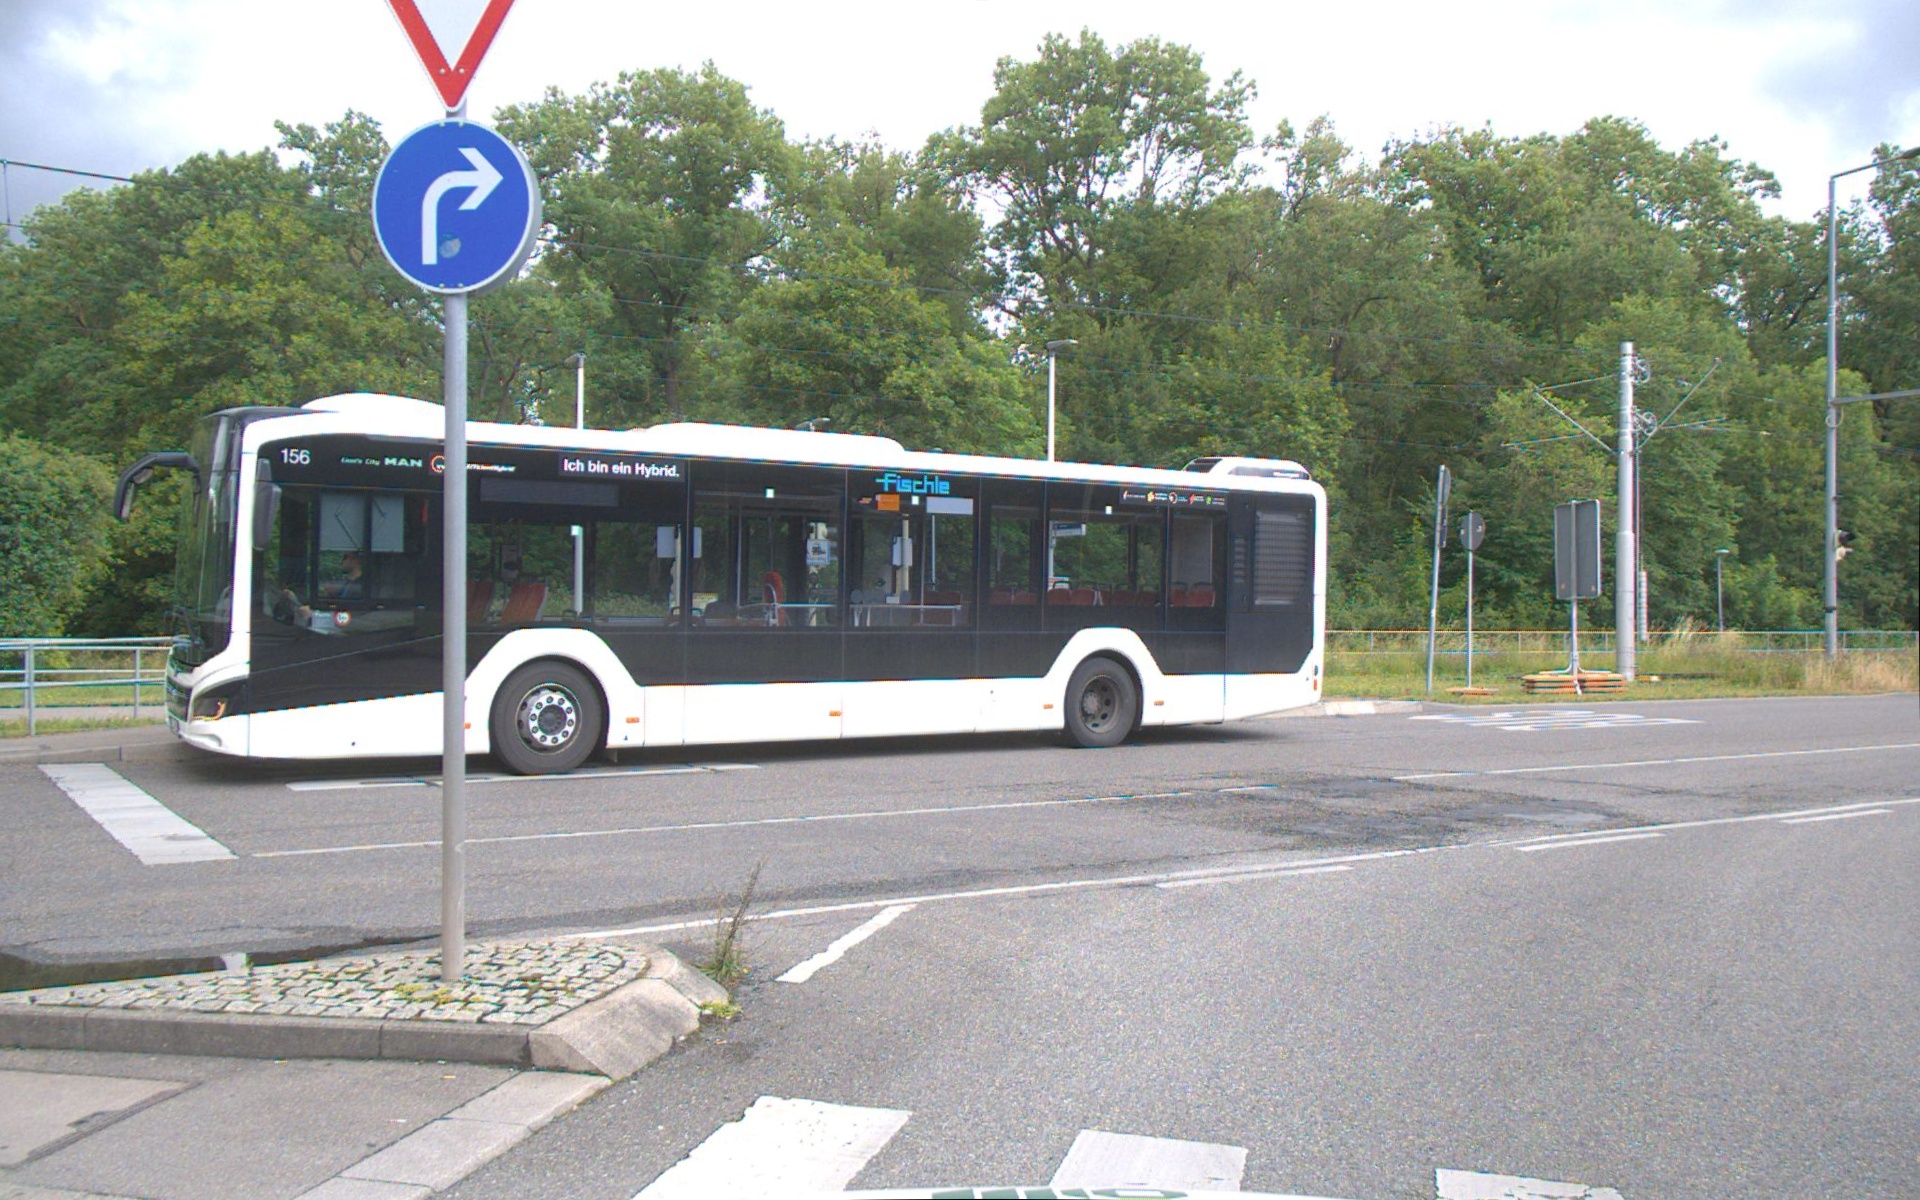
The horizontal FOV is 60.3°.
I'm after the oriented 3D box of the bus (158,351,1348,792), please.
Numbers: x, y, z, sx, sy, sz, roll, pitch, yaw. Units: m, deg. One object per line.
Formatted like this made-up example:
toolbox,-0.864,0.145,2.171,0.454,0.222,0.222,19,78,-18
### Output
bus,-1.280,-0.138,16.695,12.048,3.259,2.644,1,-1,-34
